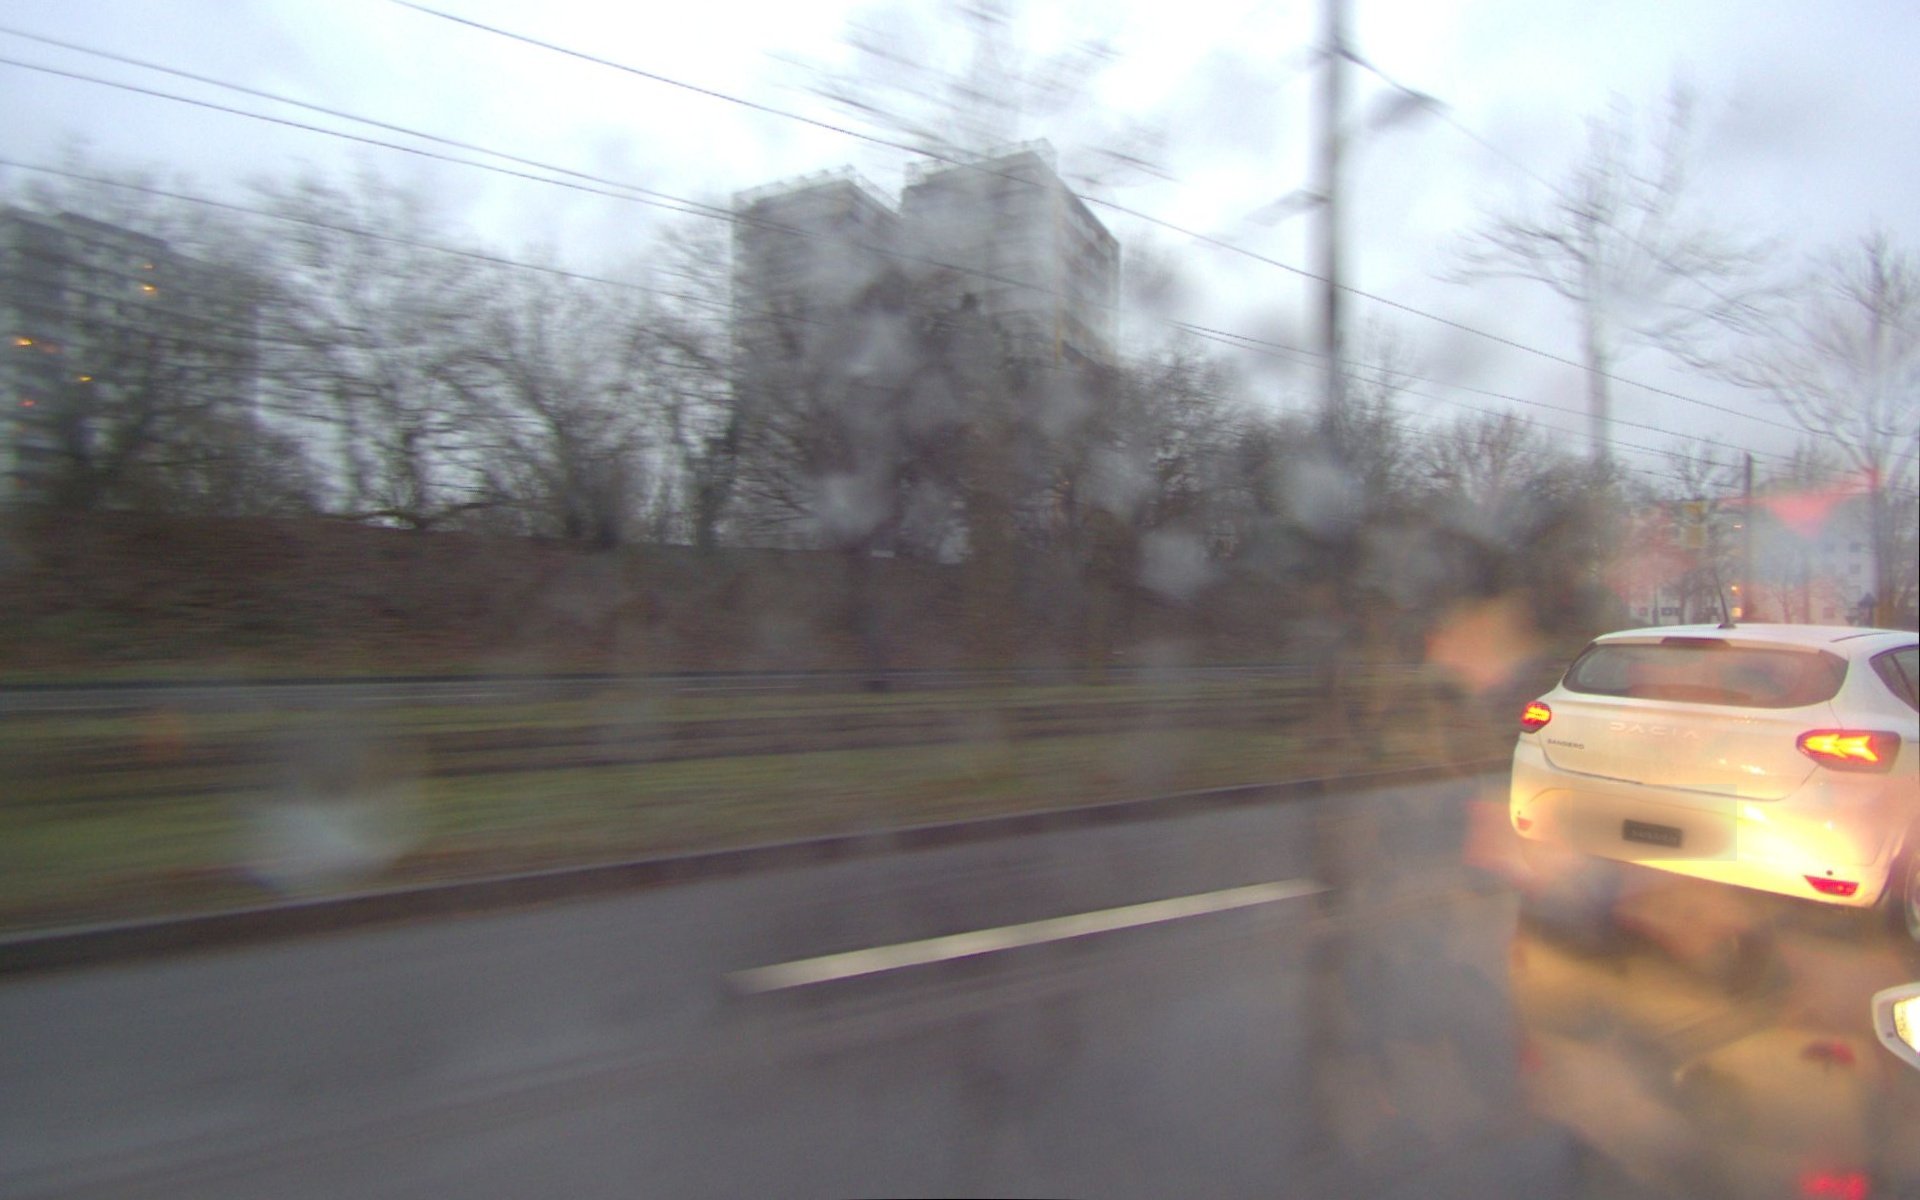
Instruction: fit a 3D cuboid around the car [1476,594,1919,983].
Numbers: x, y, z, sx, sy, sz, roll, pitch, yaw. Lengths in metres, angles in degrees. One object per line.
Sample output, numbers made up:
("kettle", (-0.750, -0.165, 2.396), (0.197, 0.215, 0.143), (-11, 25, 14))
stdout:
("car", (4.993, 0.804, 5.790), (4.087, 1.545, 1.700), (2, -1, -31))
